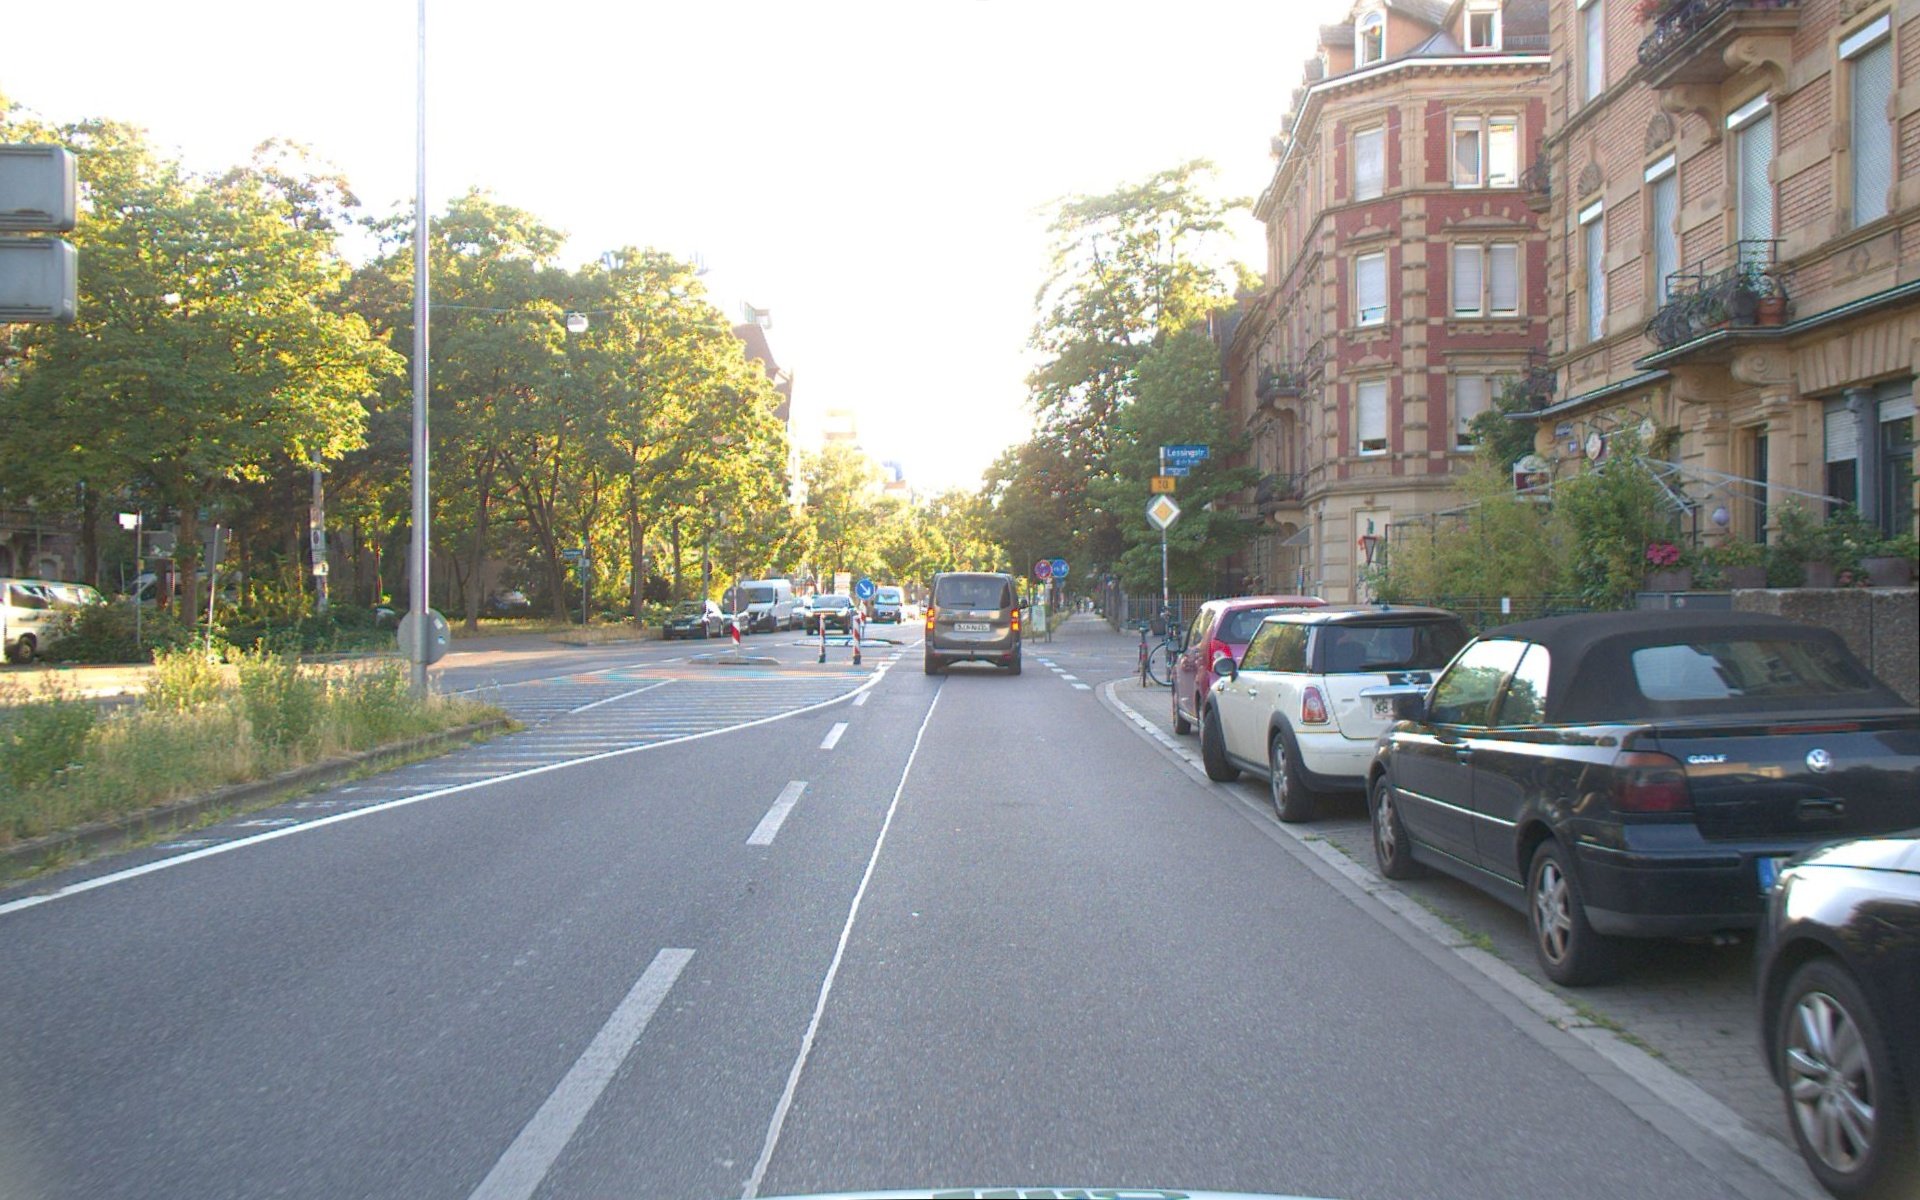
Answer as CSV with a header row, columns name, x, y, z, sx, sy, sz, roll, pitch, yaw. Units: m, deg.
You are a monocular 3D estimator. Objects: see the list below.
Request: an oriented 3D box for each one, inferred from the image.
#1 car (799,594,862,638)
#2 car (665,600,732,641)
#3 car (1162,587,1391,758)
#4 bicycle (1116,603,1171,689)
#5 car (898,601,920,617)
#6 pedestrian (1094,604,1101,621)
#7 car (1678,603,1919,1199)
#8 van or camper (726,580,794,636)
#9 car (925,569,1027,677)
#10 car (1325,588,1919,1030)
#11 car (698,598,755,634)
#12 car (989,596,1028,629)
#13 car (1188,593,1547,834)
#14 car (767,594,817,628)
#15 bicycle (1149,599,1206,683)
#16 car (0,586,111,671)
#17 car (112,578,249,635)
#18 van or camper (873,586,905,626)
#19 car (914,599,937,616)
name,x,y,z,sx,sy,sz,roll,pitch,yaw
car,-5.538,0.680,71.347,1.837,1.735,4.570,-3,0,6
car,-10.248,0.773,65.123,1.589,1.533,4.546,-1,0,4
car,3.176,0.667,17.223,1.691,1.490,3.547,-4,0,1
bicycle,3.028,0.758,27.481,0.554,1.322,2.264,-4,-1,0
car,-4.100,0.727,133.337,1.504,1.270,3.615,2,0,3
pedestrian,13.330,1.203,160.842,0.631,1.661,0.656,1,0,4
car,3.178,0.734,2.790,1.849,1.473,4.463,-4,0,-1
van or camper,-9.447,0.341,78.624,2.047,2.511,6.308,-1,0,3
car,0.330,0.408,32.331,1.848,1.958,3.840,-1,0,1
car,3.227,0.730,8.030,1.849,1.451,4.342,-4,0,0
car,-10.020,0.680,71.208,1.594,1.454,4.244,-1,0,3
car,2.523,0.635,85.566,1.952,1.662,4.002,0,0,3
car,2.896,0.733,12.555,1.643,1.451,3.675,-4,0,-2
car,-8.713,0.551,86.233,1.826,1.673,4.573,-1,0,4
bicycle,3.592,0.686,27.495,0.554,1.297,2.264,-4,-1,0
car,-21.152,0.593,37.435,1.781,1.826,4.000,0,0,0
car,-35.359,0.268,75.164,2.229,2.529,5.211,0,0,38
van or camper,-5.076,0.424,119.104,1.953,2.715,6.038,2,0,0
car,-3.091,0.686,148.066,1.661,1.477,4.002,2,0,3
